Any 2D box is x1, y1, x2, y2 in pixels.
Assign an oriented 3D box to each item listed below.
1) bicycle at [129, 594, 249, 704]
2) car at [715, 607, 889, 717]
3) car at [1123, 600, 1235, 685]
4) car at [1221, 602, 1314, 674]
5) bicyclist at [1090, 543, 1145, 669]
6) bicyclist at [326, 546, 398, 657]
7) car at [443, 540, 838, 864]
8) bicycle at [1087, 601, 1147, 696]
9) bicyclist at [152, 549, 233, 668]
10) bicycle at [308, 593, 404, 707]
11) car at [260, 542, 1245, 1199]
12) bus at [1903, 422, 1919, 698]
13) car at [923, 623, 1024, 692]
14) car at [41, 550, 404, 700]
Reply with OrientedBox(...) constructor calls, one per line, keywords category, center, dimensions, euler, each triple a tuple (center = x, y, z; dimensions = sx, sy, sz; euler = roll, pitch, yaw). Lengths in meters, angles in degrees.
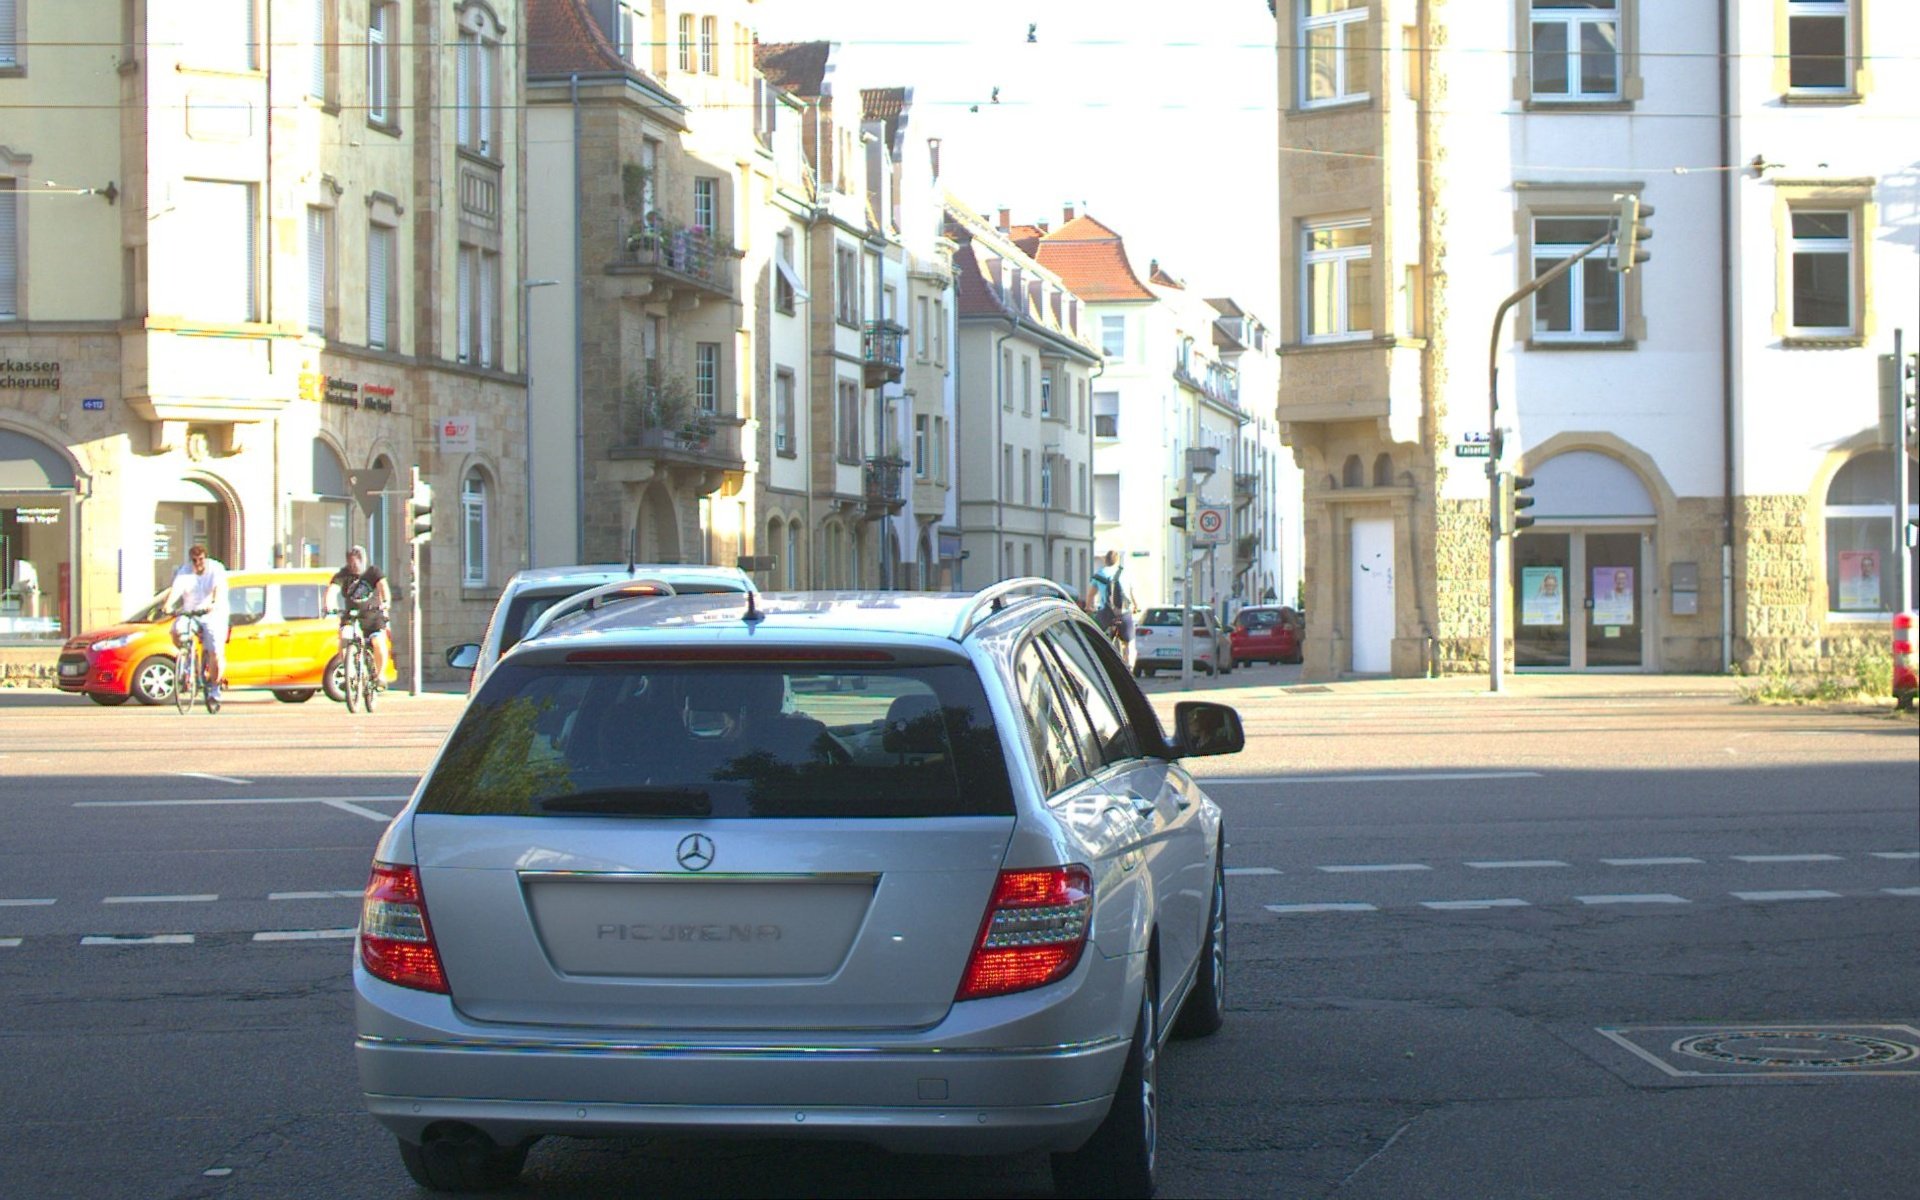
OrientedBox(category="bicycle", center=(-8.077, 0.495, 36.114), dimensions=(0.650, 1.101, 2.552), euler=(1, 0, 1))
OrientedBox(category="car", center=(-2.554, 0.985, 56.466), dimensions=(1.831, 1.700, 3.998), euler=(1, 0, 13))
OrientedBox(category="car", center=(4.406, 0.824, 68.650), dimensions=(1.830, 1.610, 3.998), euler=(1, 0, 9))
OrientedBox(category="car", center=(7.577, 0.905, 84.552), dimensions=(1.831, 1.700, 3.998), euler=(1, 0, 11))
OrientedBox(category="bicyclist", center=(1.889, 0.073, 41.288), dimensions=(0.610, 1.489, 0.767), euler=(1, 0, 1))
OrientedBox(category="bicyclist", center=(-6.329, 0.015, 36.420), dimensions=(0.610, 1.154, 0.767), euler=(1, 0, 1))
OrientedBox(category="car", center=(-1.539, 0.468, 17.735), dimensions=(1.732, 1.475, 3.815), euler=(1, 0, -1))
OrientedBox(category="bicycle", center=(1.881, 0.566, 41.355), dimensions=(0.619, 1.101, 2.552), euler=(1, 0, 1))
OrientedBox(category="bicyclist", center=(-8.056, 0.085, 36.109), dimensions=(0.658, 1.232, 0.767), euler=(1, 0, 1))
OrientedBox(category="bicycle", center=(-6.367, 0.512, 36.335), dimensions=(0.650, 1.101, 1.924), euler=(1, 2, 1))
OrientedBox(category="car", center=(-0.264, 0.625, 8.957), dimensions=(1.732, 1.472, 4.171), euler=(1, 0, 8))
OrientedBox(category="bus", center=(16.666, -0.435, 41.027), dimensions=(9.865, 3.362, 3.276), euler=(1, 0, -2))
OrientedBox(category="car", center=(0.368, 1.411, 85.245), dimensions=(1.831, 1.610, 3.998), euler=(1, 0, 10))
OrientedBox(category="car", center=(-9.762, 0.326, 45.670), dimensions=(4.296, 1.893, 1.920), euler=(1, 0, -39))
